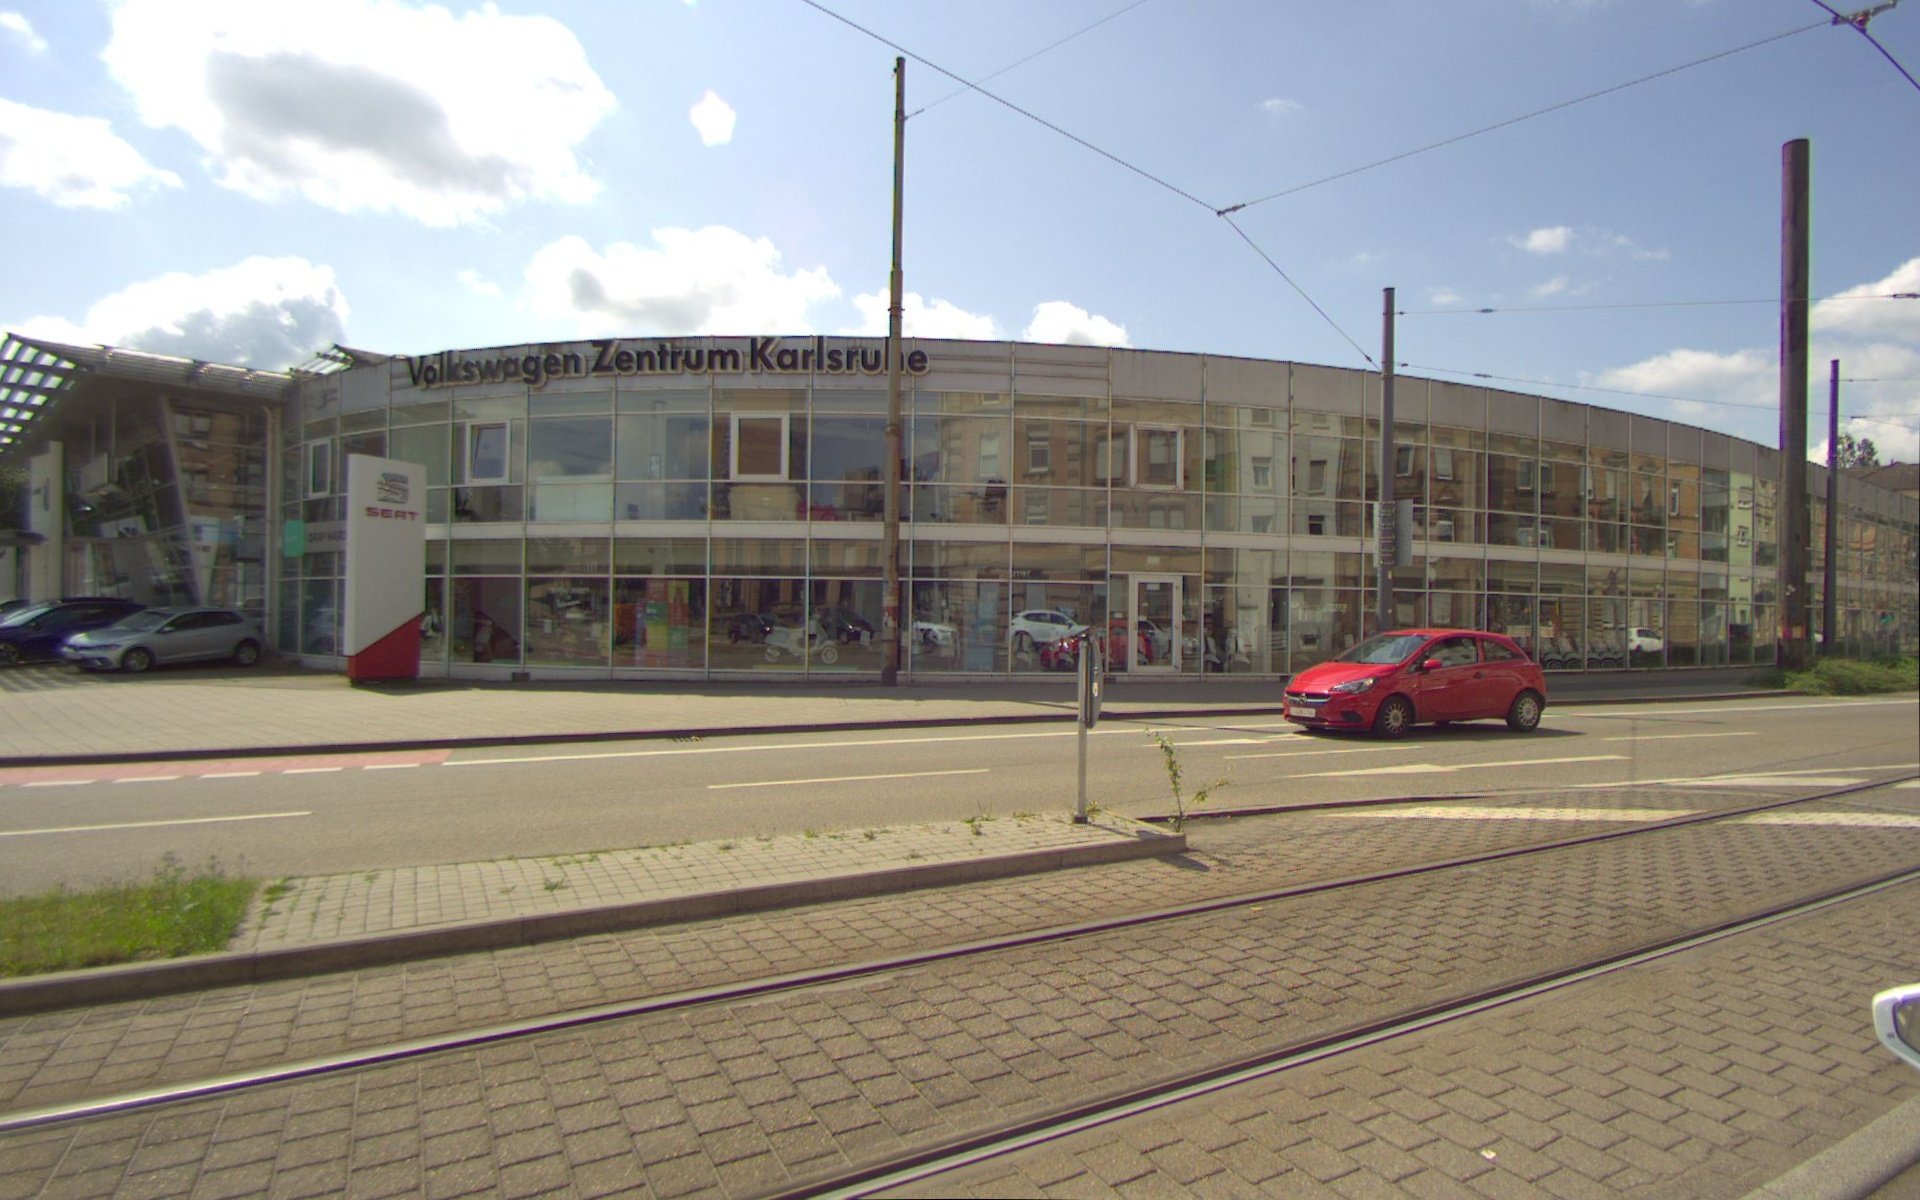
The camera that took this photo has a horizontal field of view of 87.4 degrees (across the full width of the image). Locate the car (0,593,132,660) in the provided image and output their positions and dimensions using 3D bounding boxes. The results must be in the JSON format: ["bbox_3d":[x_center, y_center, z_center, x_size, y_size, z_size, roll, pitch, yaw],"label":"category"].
[{"bbox_3d":[-24.821,0.691,26.970,1.741,1.695,3.641,1,-1,14],"label":"car"}]

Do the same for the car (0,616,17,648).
[{"bbox_3d":[-39.560,1.251,39.299,1.530,1.262,3.632,1,-1,31],"label":"car"}]

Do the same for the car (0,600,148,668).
[{"bbox_3d":[-22.681,0.817,24.772,1.631,1.494,3.779,1,2,30],"label":"car"}]

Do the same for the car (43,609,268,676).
[{"bbox_3d":[-19.518,0.985,24.595,1.798,1.466,3.948,1,-1,18],"label":"car"}]

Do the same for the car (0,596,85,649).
[{"bbox_3d":[-33.032,0.767,34.843,1.675,1.798,3.847,1,-1,40],"label":"car"}]

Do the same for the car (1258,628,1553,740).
[{"bbox_3d":[6.425,1.135,14.518,3.844,1.447,1.699,1,-2,-21],"label":"car"}]
